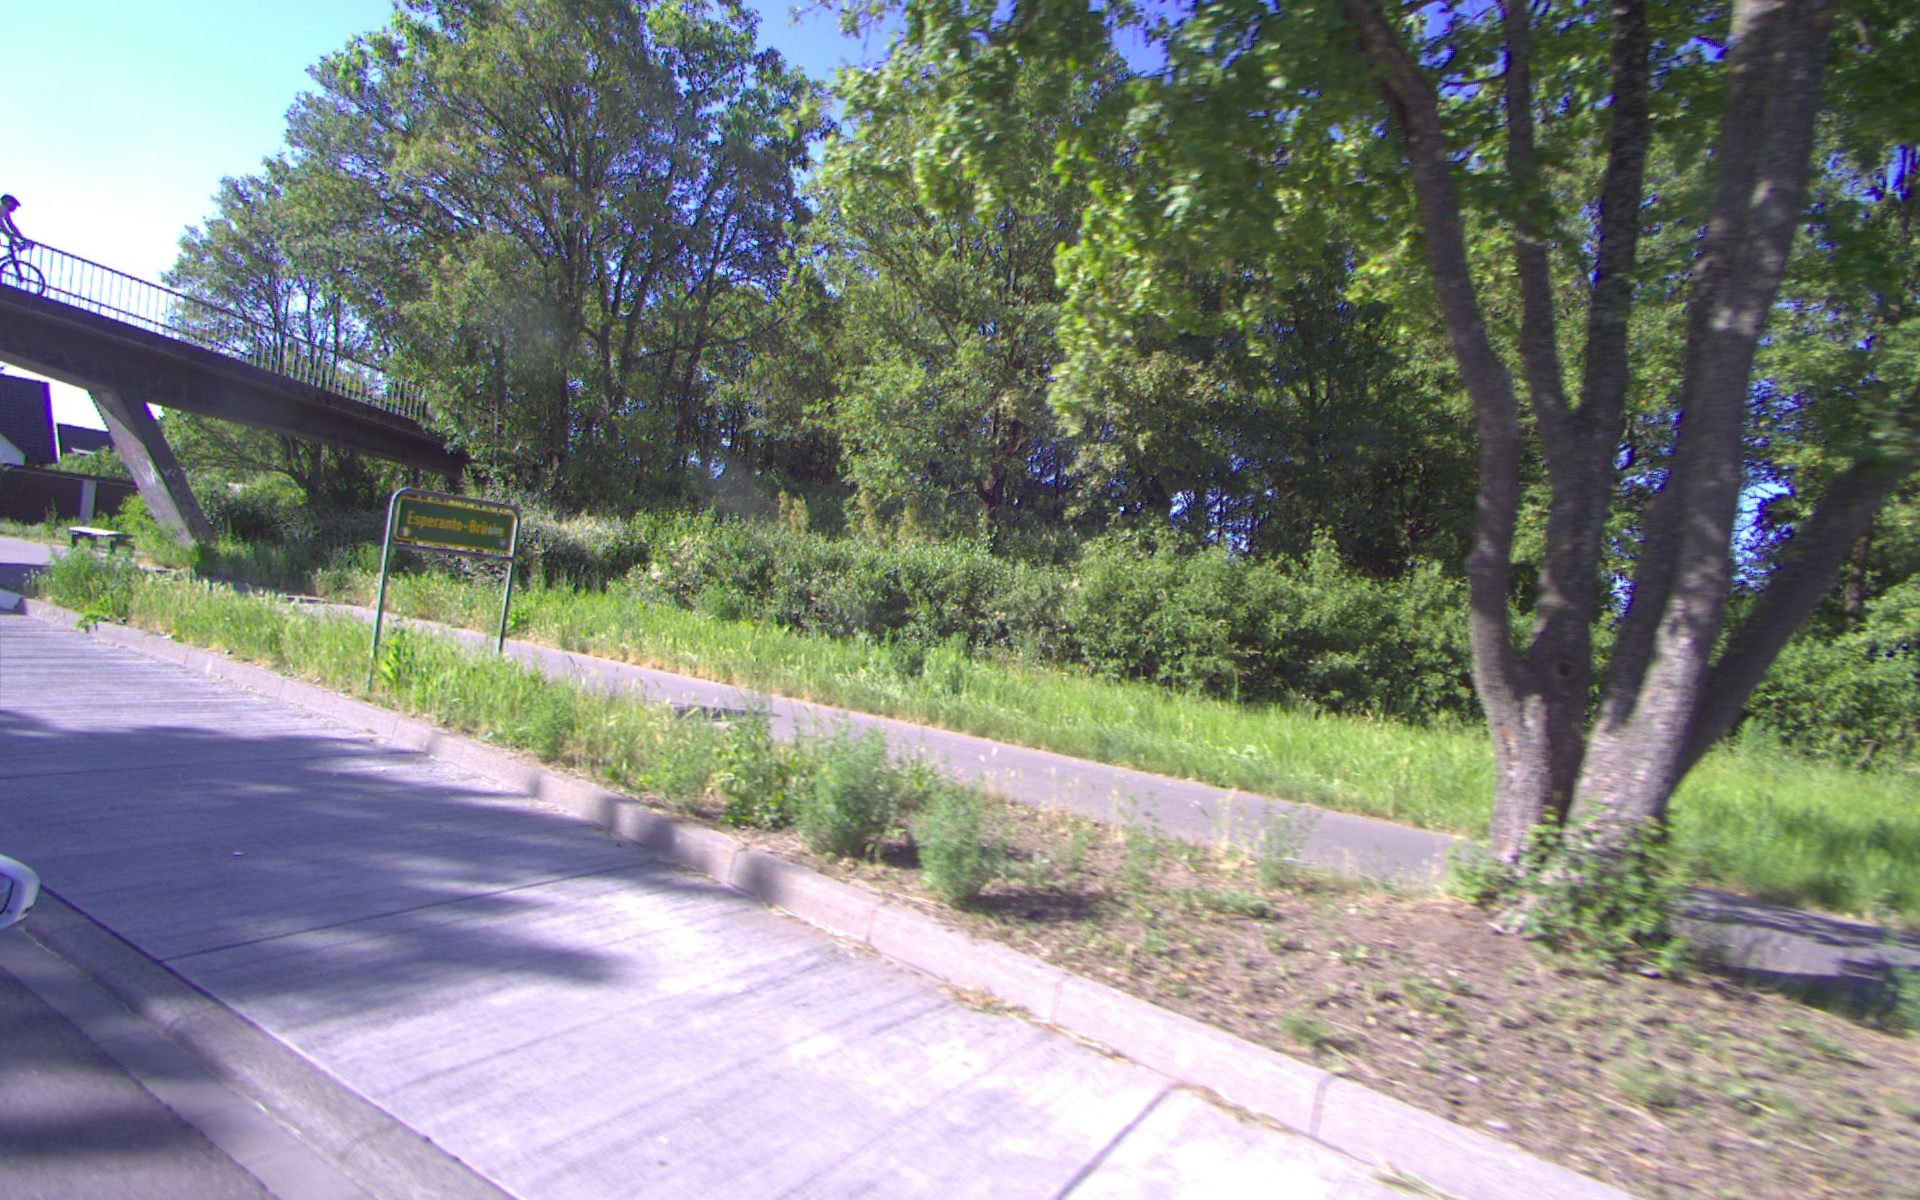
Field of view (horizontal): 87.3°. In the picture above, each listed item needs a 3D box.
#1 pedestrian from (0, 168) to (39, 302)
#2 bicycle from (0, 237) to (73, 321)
[{"bbox_3d":[-17.326,-6.537,17.815,0.980,2.150,1.068,7,0,28],"label":"pedestrian"},{"bbox_3d":[-17.349,-5.893,17.990,0.715,1.120,1.995,8,-2,28],"label":"bicycle"}]
